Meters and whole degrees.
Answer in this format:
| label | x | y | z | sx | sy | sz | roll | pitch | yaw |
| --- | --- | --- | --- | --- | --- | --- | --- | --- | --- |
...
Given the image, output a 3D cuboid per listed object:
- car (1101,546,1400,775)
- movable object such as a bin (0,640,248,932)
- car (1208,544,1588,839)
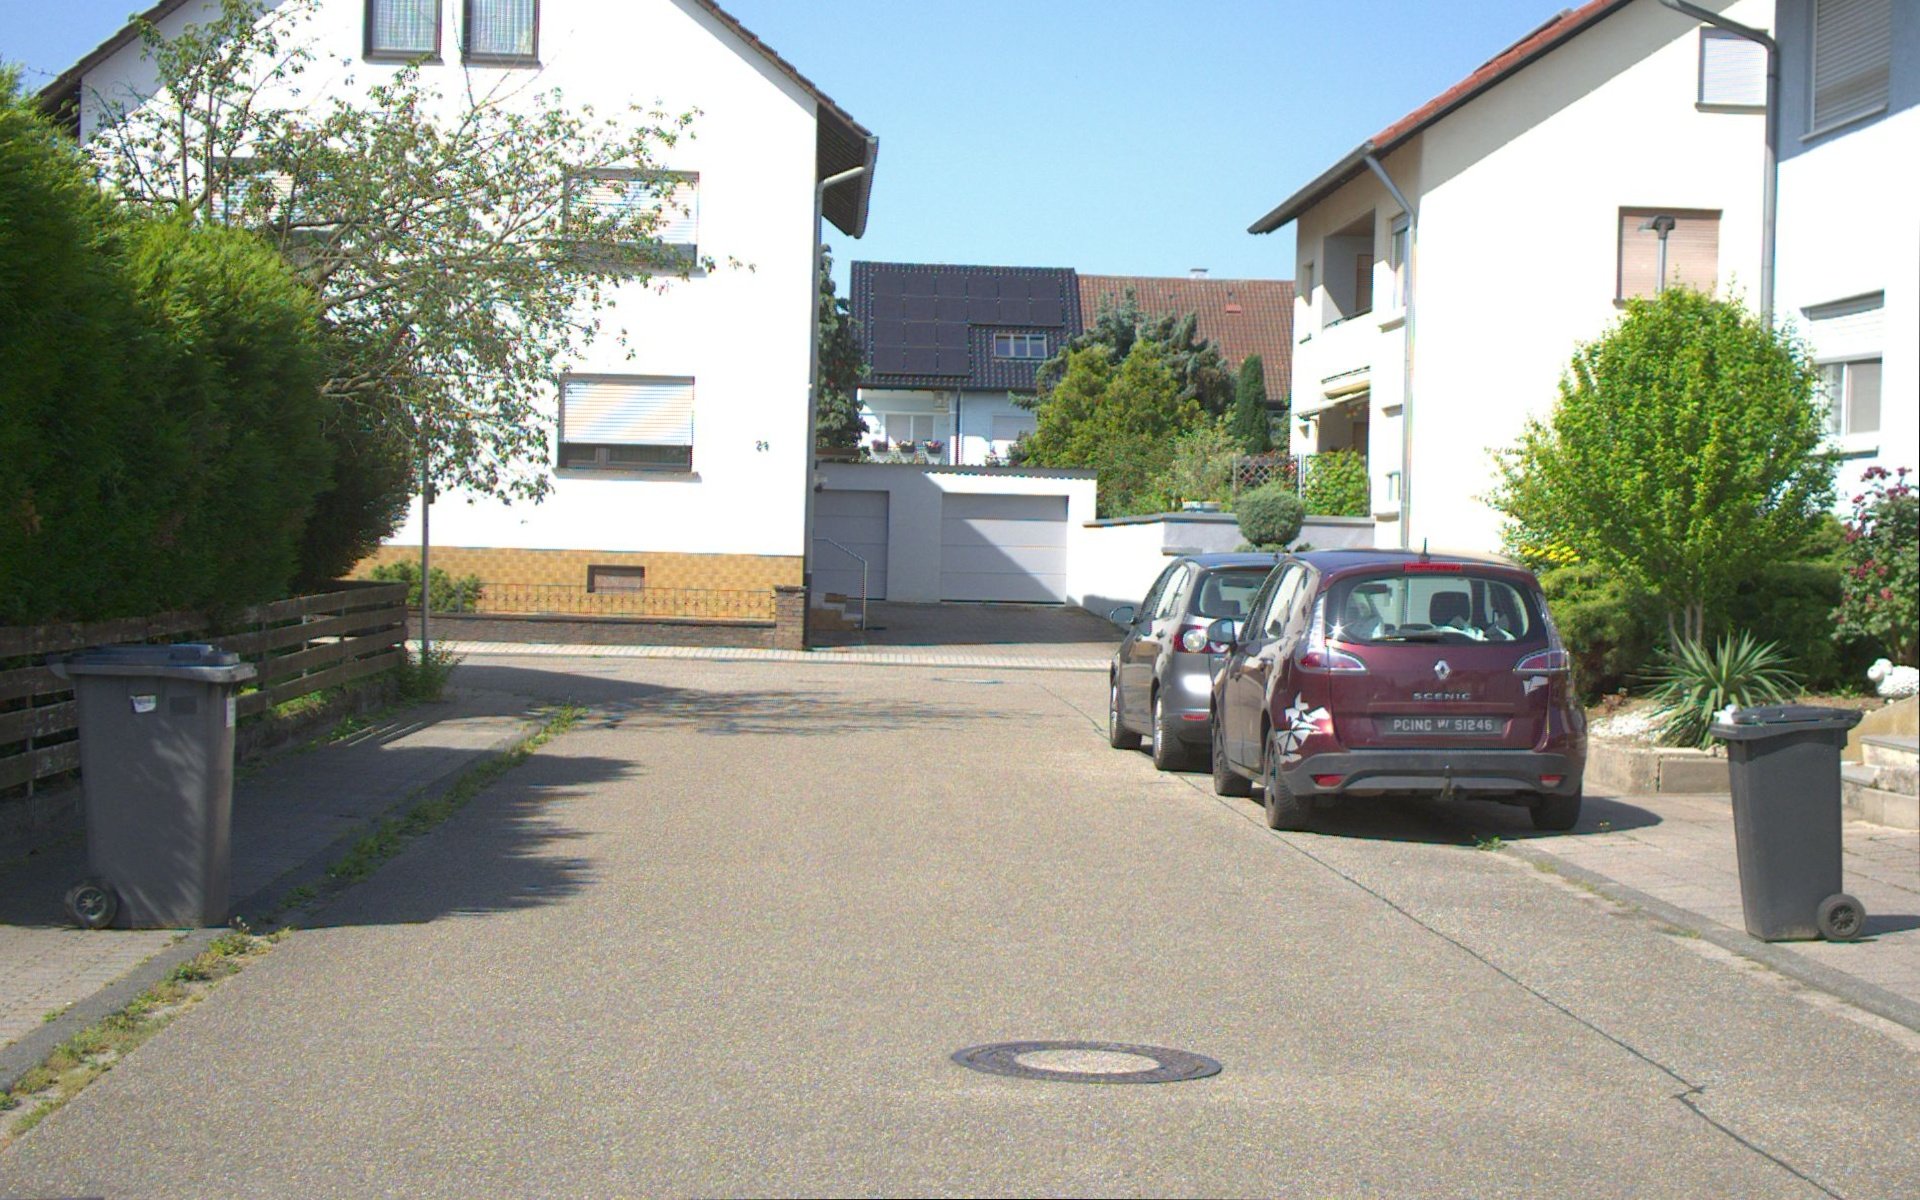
| label | x | y | z | sx | sy | sz | roll | pitch | yaw |
| --- | --- | --- | --- | --- | --- | --- | --- | --- | --- |
| car | 2.108 | 0.393 | 25.968 | 1.645 | 1.540 | 4.048 | 1 | 1 | -4 |
| movable object such as a bin | -3.196 | 0.700 | 13.158 | 0.818 | 1.060 | 0.611 | 1 | 1 | -2 |
| car | 2.558 | 0.470 | 20.983 | 1.645 | 1.576 | 4.148 | 1 | 1 | -2 |
